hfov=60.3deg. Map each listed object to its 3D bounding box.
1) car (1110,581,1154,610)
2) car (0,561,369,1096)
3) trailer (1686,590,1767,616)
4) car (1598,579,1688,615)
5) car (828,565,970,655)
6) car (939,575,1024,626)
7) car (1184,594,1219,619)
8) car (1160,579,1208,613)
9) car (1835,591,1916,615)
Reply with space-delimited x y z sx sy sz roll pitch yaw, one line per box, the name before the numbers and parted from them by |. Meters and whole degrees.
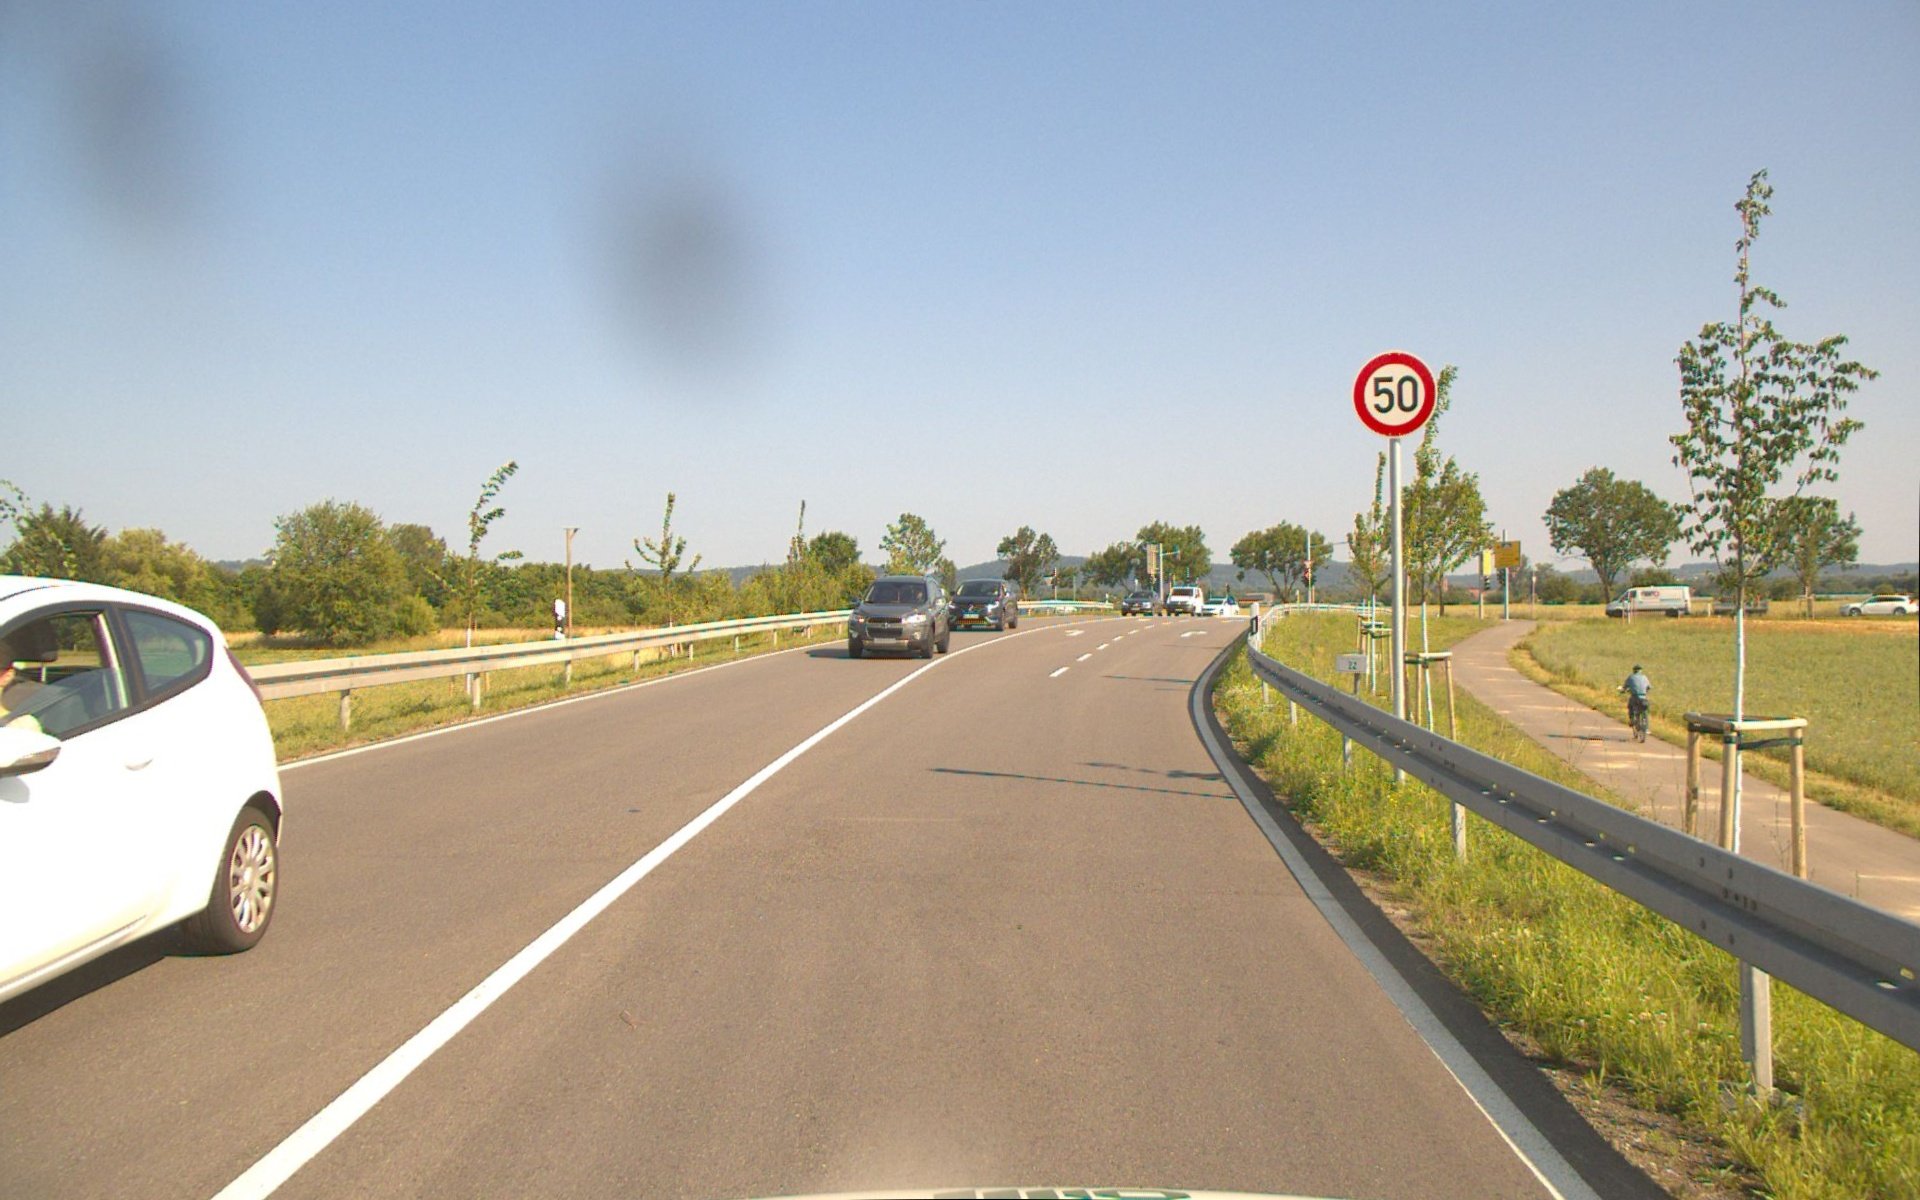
car | 9.997 -0.303 95.799 1.756 1.473 4.710 1 3 16
car | -3.551 0.616 5.325 1.815 1.474 4.153 1 0 -1
trailer | 54.873 0.219 118.473 5.160 1.784 1.950 -1 -1 29
car | 50.012 -0.200 121.144 5.844 2.536 1.997 1 -1 29
car | -1.246 0.274 36.662 1.842 1.829 5.095 1 -2 13
car | 0.778 0.011 55.569 1.951 1.620 4.867 1 0 12
car | 17.639 0.438 120.709 2.070 1.519 5.158 1 3 14
car | 14.880 -0.293 109.688 2.071 2.048 5.156 1 3 20
car | 63.290 0.193 114.426 4.773 1.536 1.998 1 -1 26
